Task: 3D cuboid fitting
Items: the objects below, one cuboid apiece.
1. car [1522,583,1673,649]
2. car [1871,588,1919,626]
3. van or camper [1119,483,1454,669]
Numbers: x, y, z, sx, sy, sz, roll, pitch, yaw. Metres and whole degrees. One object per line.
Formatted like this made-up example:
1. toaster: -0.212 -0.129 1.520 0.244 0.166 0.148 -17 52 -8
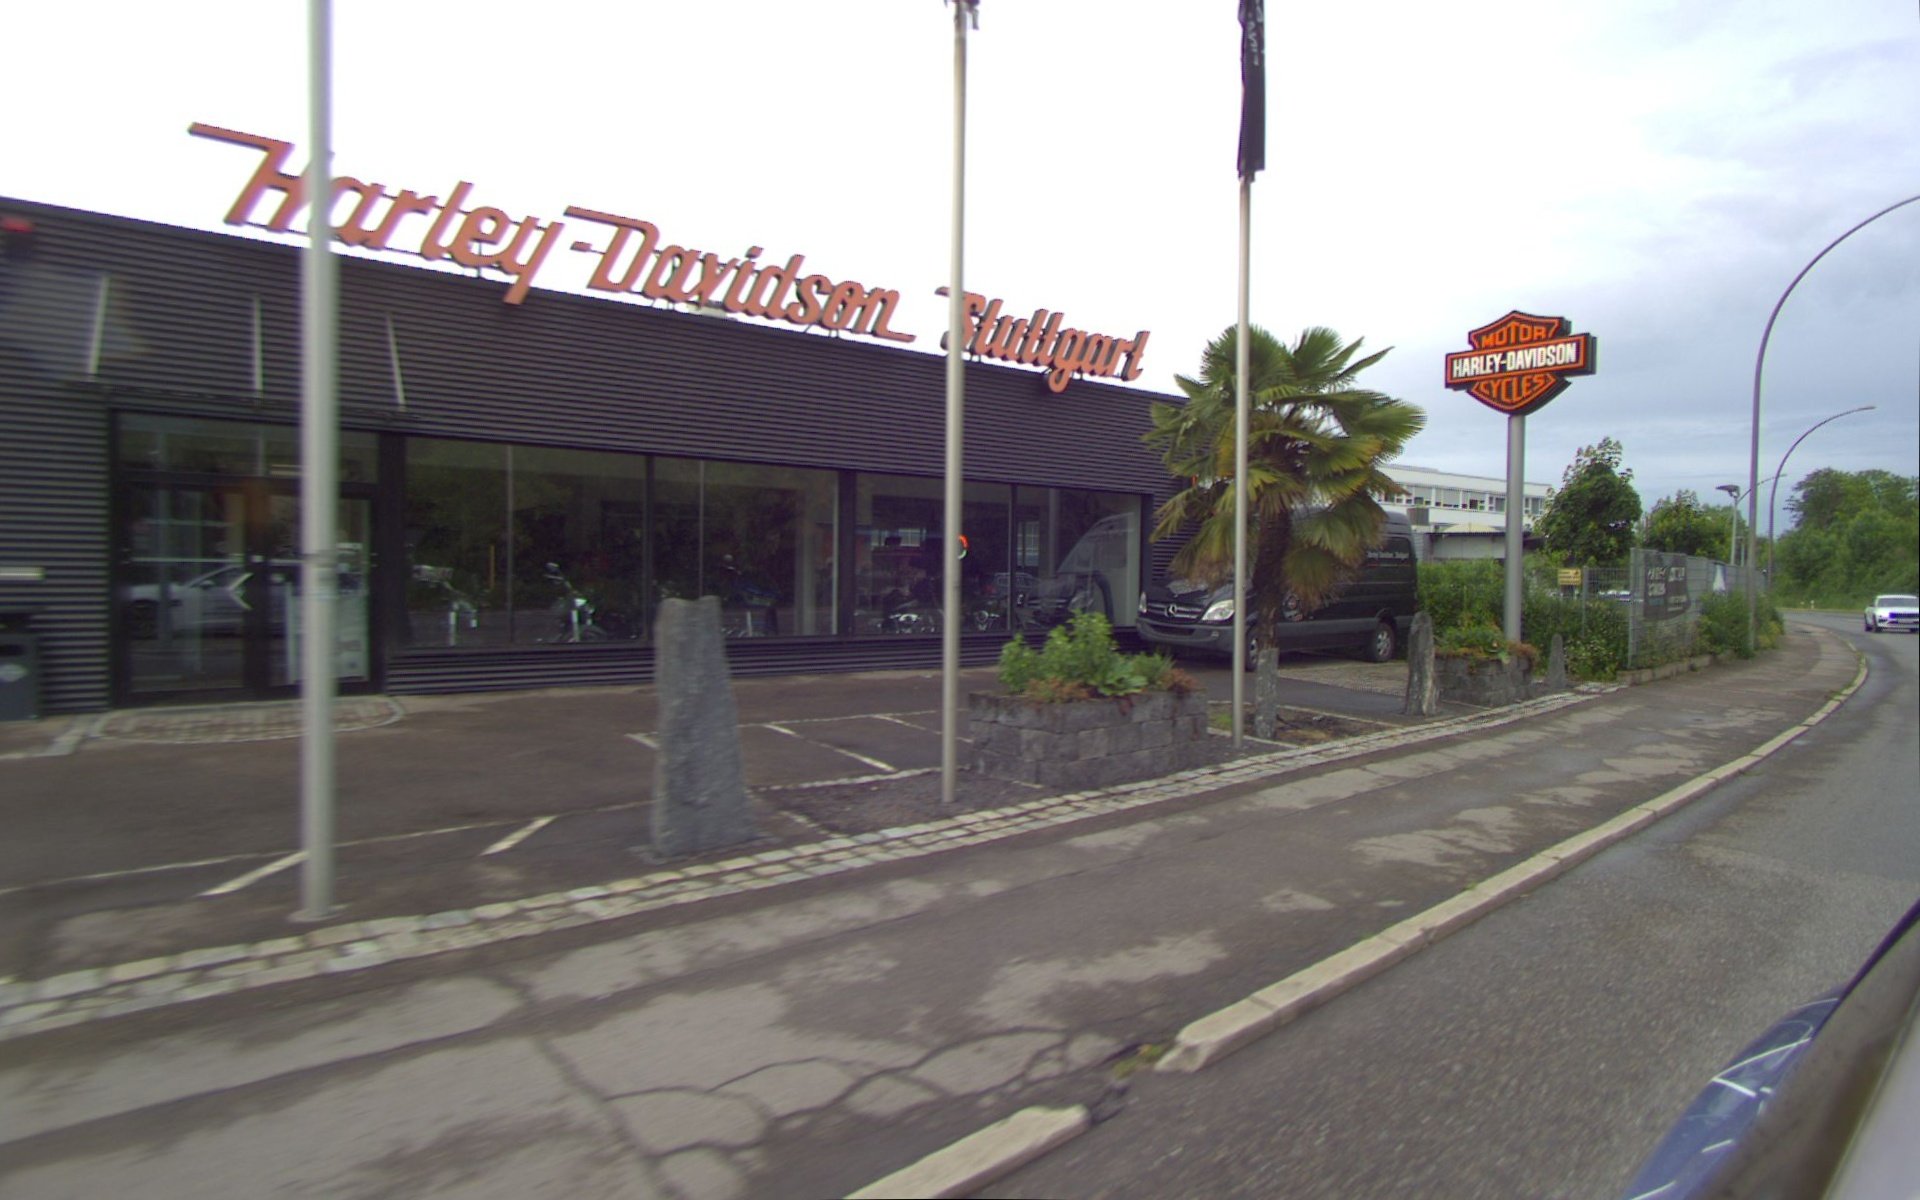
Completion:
1. car: 21.312 0.487 33.941 1.683 2.039 3.990 0 1 -44
2. car: 41.970 0.294 44.756 1.836 1.594 3.782 2 2 33
3. van or camper: 5.701 -0.379 17.098 6.468 2.625 2.047 0 2 -37
